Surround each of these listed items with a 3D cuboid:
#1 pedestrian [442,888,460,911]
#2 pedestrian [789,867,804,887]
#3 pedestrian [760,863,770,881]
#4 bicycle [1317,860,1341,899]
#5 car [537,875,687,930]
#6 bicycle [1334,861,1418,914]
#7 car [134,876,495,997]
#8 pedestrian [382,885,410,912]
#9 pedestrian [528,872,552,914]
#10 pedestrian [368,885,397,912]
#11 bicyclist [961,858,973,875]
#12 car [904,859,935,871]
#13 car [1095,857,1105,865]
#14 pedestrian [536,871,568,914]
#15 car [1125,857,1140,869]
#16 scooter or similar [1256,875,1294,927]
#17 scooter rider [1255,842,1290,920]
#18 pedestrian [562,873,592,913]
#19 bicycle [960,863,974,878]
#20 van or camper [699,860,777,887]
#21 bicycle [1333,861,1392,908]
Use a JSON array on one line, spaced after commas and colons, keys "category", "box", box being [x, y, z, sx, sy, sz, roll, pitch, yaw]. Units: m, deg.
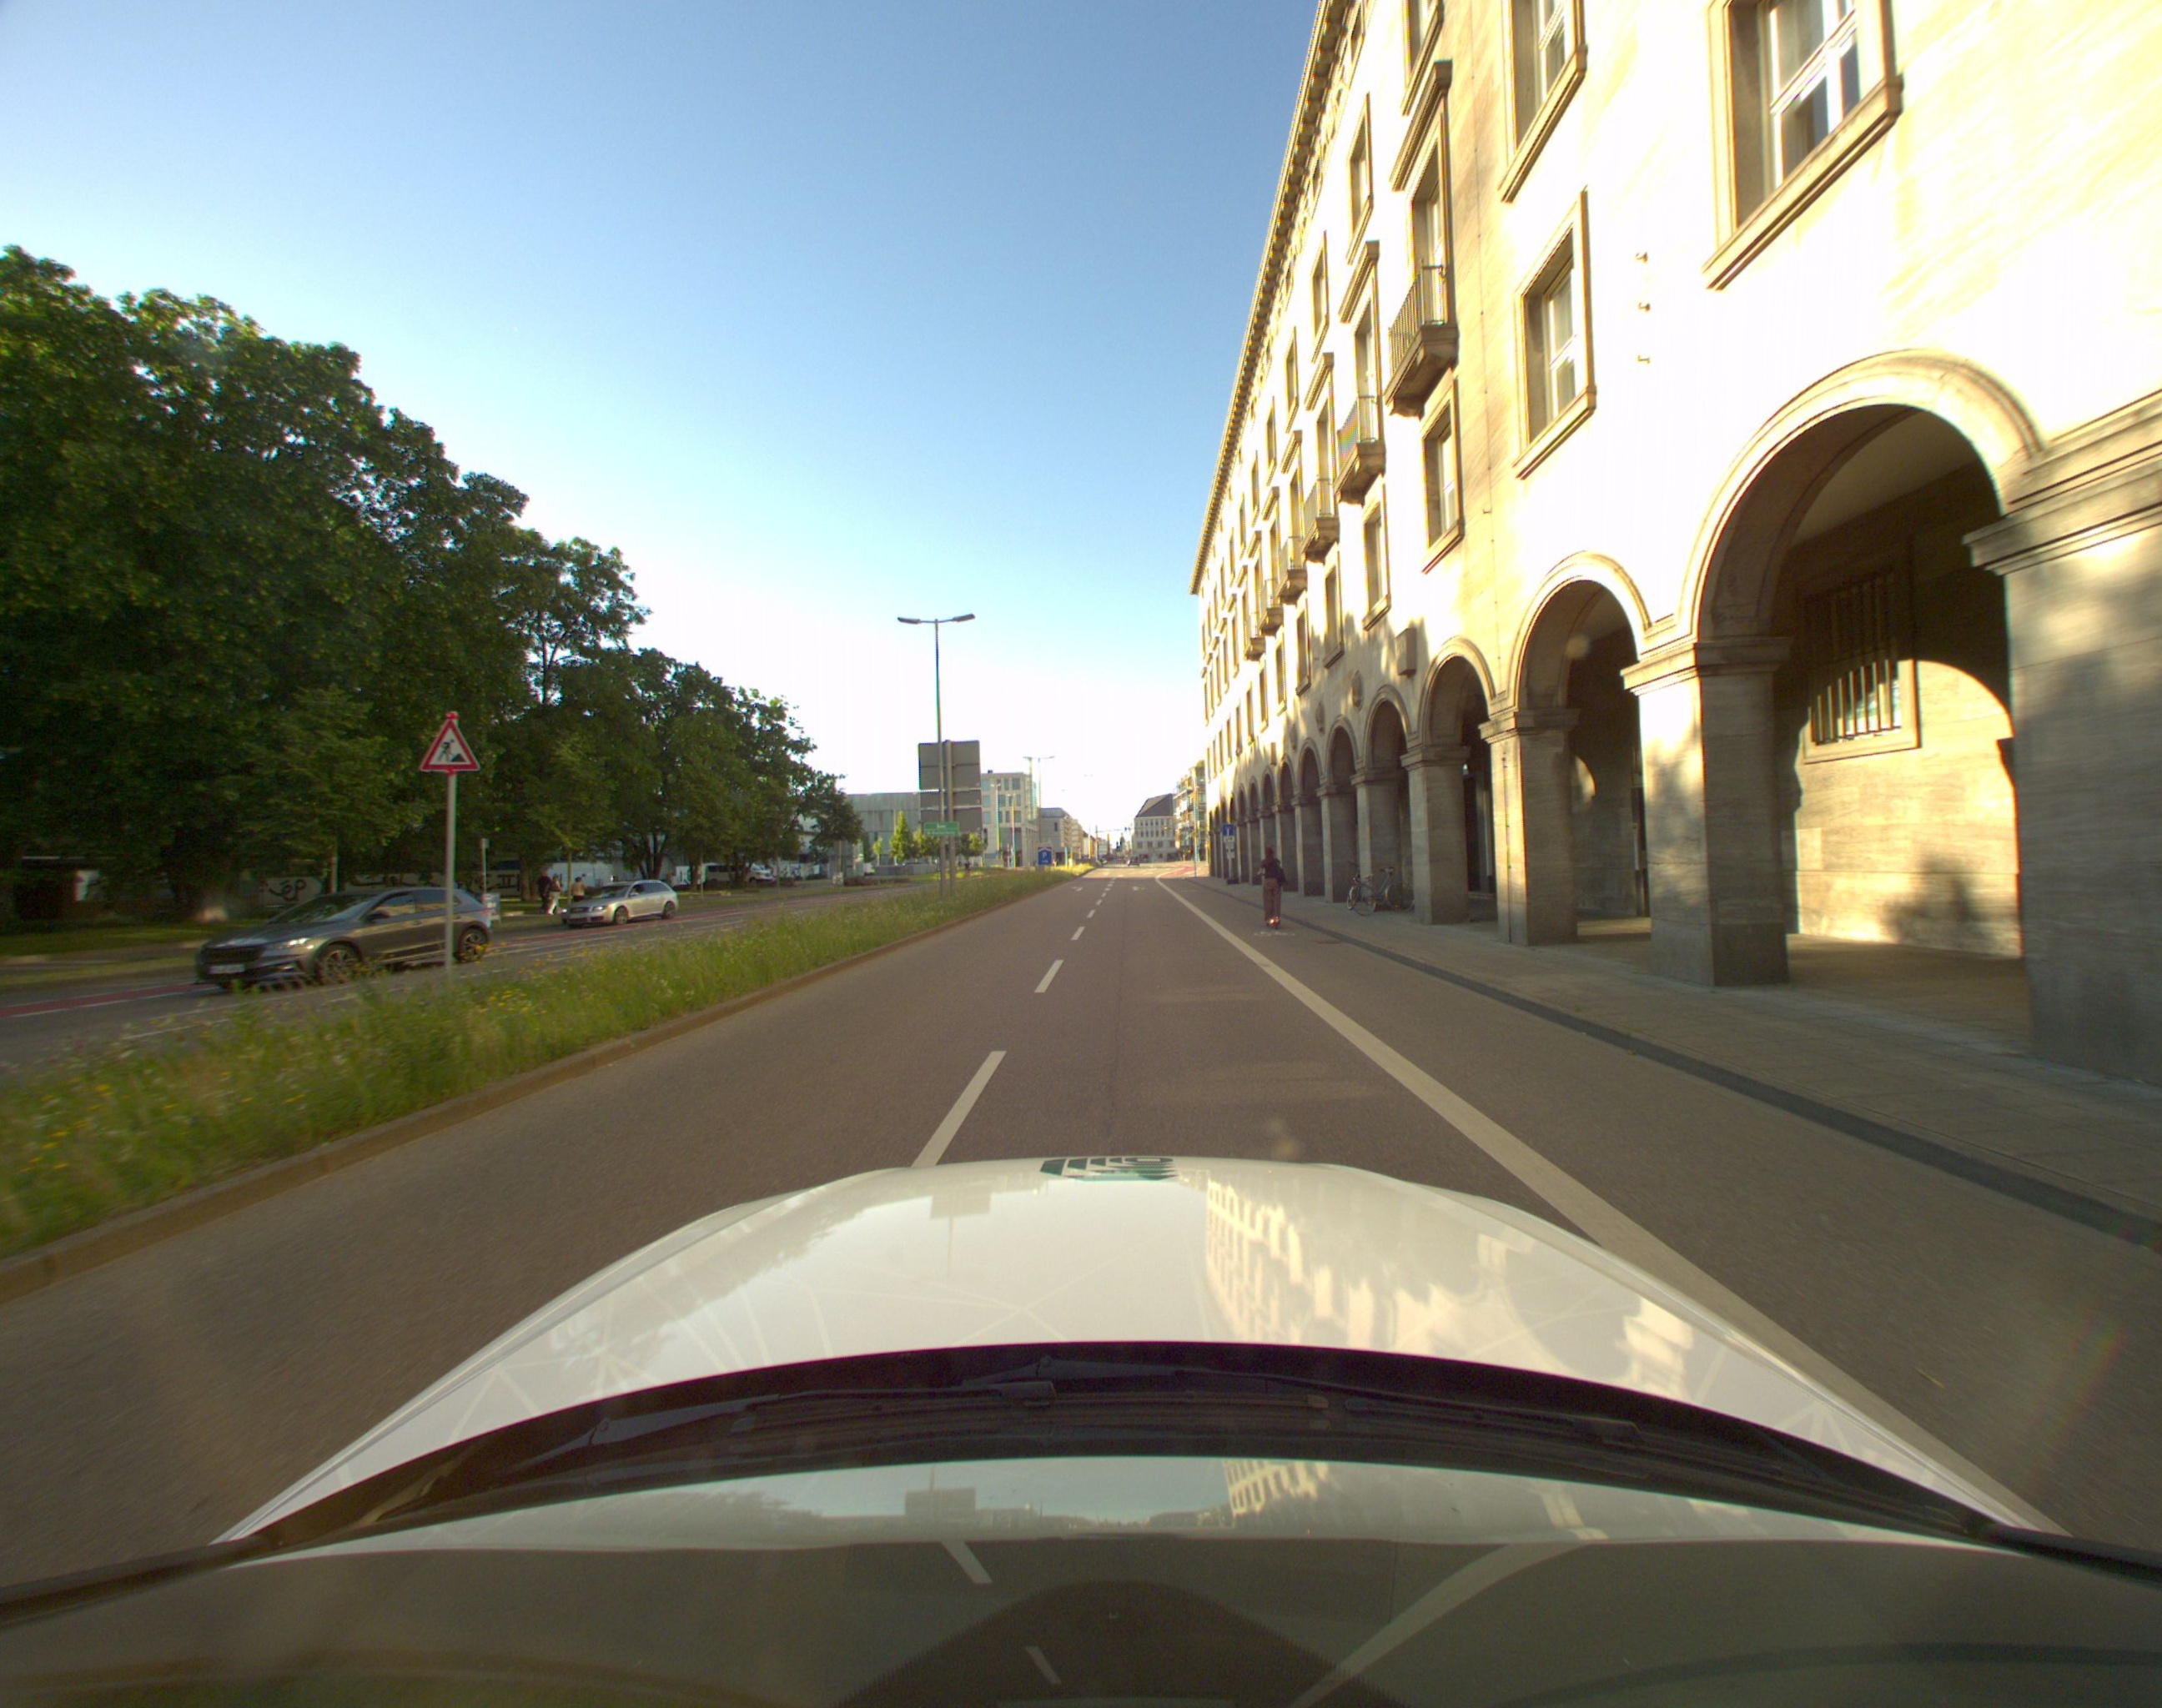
[{"category": "pedestrian", "box": [-46.868, 3.376, 60.593, 0.719, 1.641, 0.746, -2, -1, 9]}, {"category": "pedestrian", "box": [-21.827, 1.765, 62.495, 0.609, 1.527, 0.945, -2, 0, 9]}, {"category": "pedestrian", "box": [-30.941, 1.743, 79.780, 0.577, 1.688, 0.836, -2, 0, 2]}, {"category": "bicycle", "box": [7.398, 0.746, 24.229, 0.466, 1.050, 1.723, -4, -1, 22]}, {"category": "car", "box": [-15.772, 1.580, 27.717, 1.922, 1.526, 4.598, -2, 0, 9]}, {"category": "bicycle", "box": [6.620, 0.738, 18.285, 1.709, 1.050, 0.525, -4, -1, -12]}, {"category": "car", "box": [-12.326, 1.229, 13.556, 1.985, 1.564, 4.064, -2, 0, 4]}, {"category": "pedestrian", "box": [-41.773, 2.698, 49.678, 0.900, 1.540, 0.893, -2, -1, -4]}, {"category": "pedestrian", "box": [-22.927, 1.630, 34.534, 0.521, 1.740, 0.656, -2, -1, 7]}, {"category": "pedestrian", "box": [-41.764, 2.661, 48.706, 0.900, 1.540, 0.893, -2, -1, -4]}, {"category": "bicyclist", "box": [-10.825, 1.215, 77.509, 0.743, 1.590, 1.204, -3, -2, 7]}, {"category": "car", "box": [-26.152, 1.804, 132.008, 4.631, 1.810, 1.869, -2, -2, -5]}, {"category": "car", "box": [4.384, 1.568, 187.363, 1.985, 1.742, 4.651, -2, 1, 3]}, {"category": "pedestrian", "box": [-22.284, 1.625, 34.296, 0.767, 1.740, 0.762, -2, -1, 7]}, {"category": "car", "box": [7.138, 1.210, 113.458, 1.771, 1.564, 3.788, -2, -1, -1]}, {"category": "scooter or similar", "box": [4.137, 0.980, 17.417, 0.553, 1.031, 1.118, -2, -1, 2]}, {"category": "scooter rider", "box": [4.124, 0.579, 17.606, 0.559, 1.632, 0.650, -2, -1, 1]}, {"category": "pedestrian", "box": [-21.249, 1.634, 34.345, 0.738, 1.641, 0.728, -2, -1, 7]}, {"category": "bicycle", "box": [-10.828, 1.561, 77.419, 0.753, 1.275, 2.263, -2, -1, 8]}, {"category": "van or camper", "box": [-29.277, 1.670, 69.676, 5.637, 2.014, 2.260, -3, -2, 4]}, {"category": "bicycle", "box": [6.995, 0.744, 20.200, 1.723, 1.050, 0.604, -3, -1, -44]}]
